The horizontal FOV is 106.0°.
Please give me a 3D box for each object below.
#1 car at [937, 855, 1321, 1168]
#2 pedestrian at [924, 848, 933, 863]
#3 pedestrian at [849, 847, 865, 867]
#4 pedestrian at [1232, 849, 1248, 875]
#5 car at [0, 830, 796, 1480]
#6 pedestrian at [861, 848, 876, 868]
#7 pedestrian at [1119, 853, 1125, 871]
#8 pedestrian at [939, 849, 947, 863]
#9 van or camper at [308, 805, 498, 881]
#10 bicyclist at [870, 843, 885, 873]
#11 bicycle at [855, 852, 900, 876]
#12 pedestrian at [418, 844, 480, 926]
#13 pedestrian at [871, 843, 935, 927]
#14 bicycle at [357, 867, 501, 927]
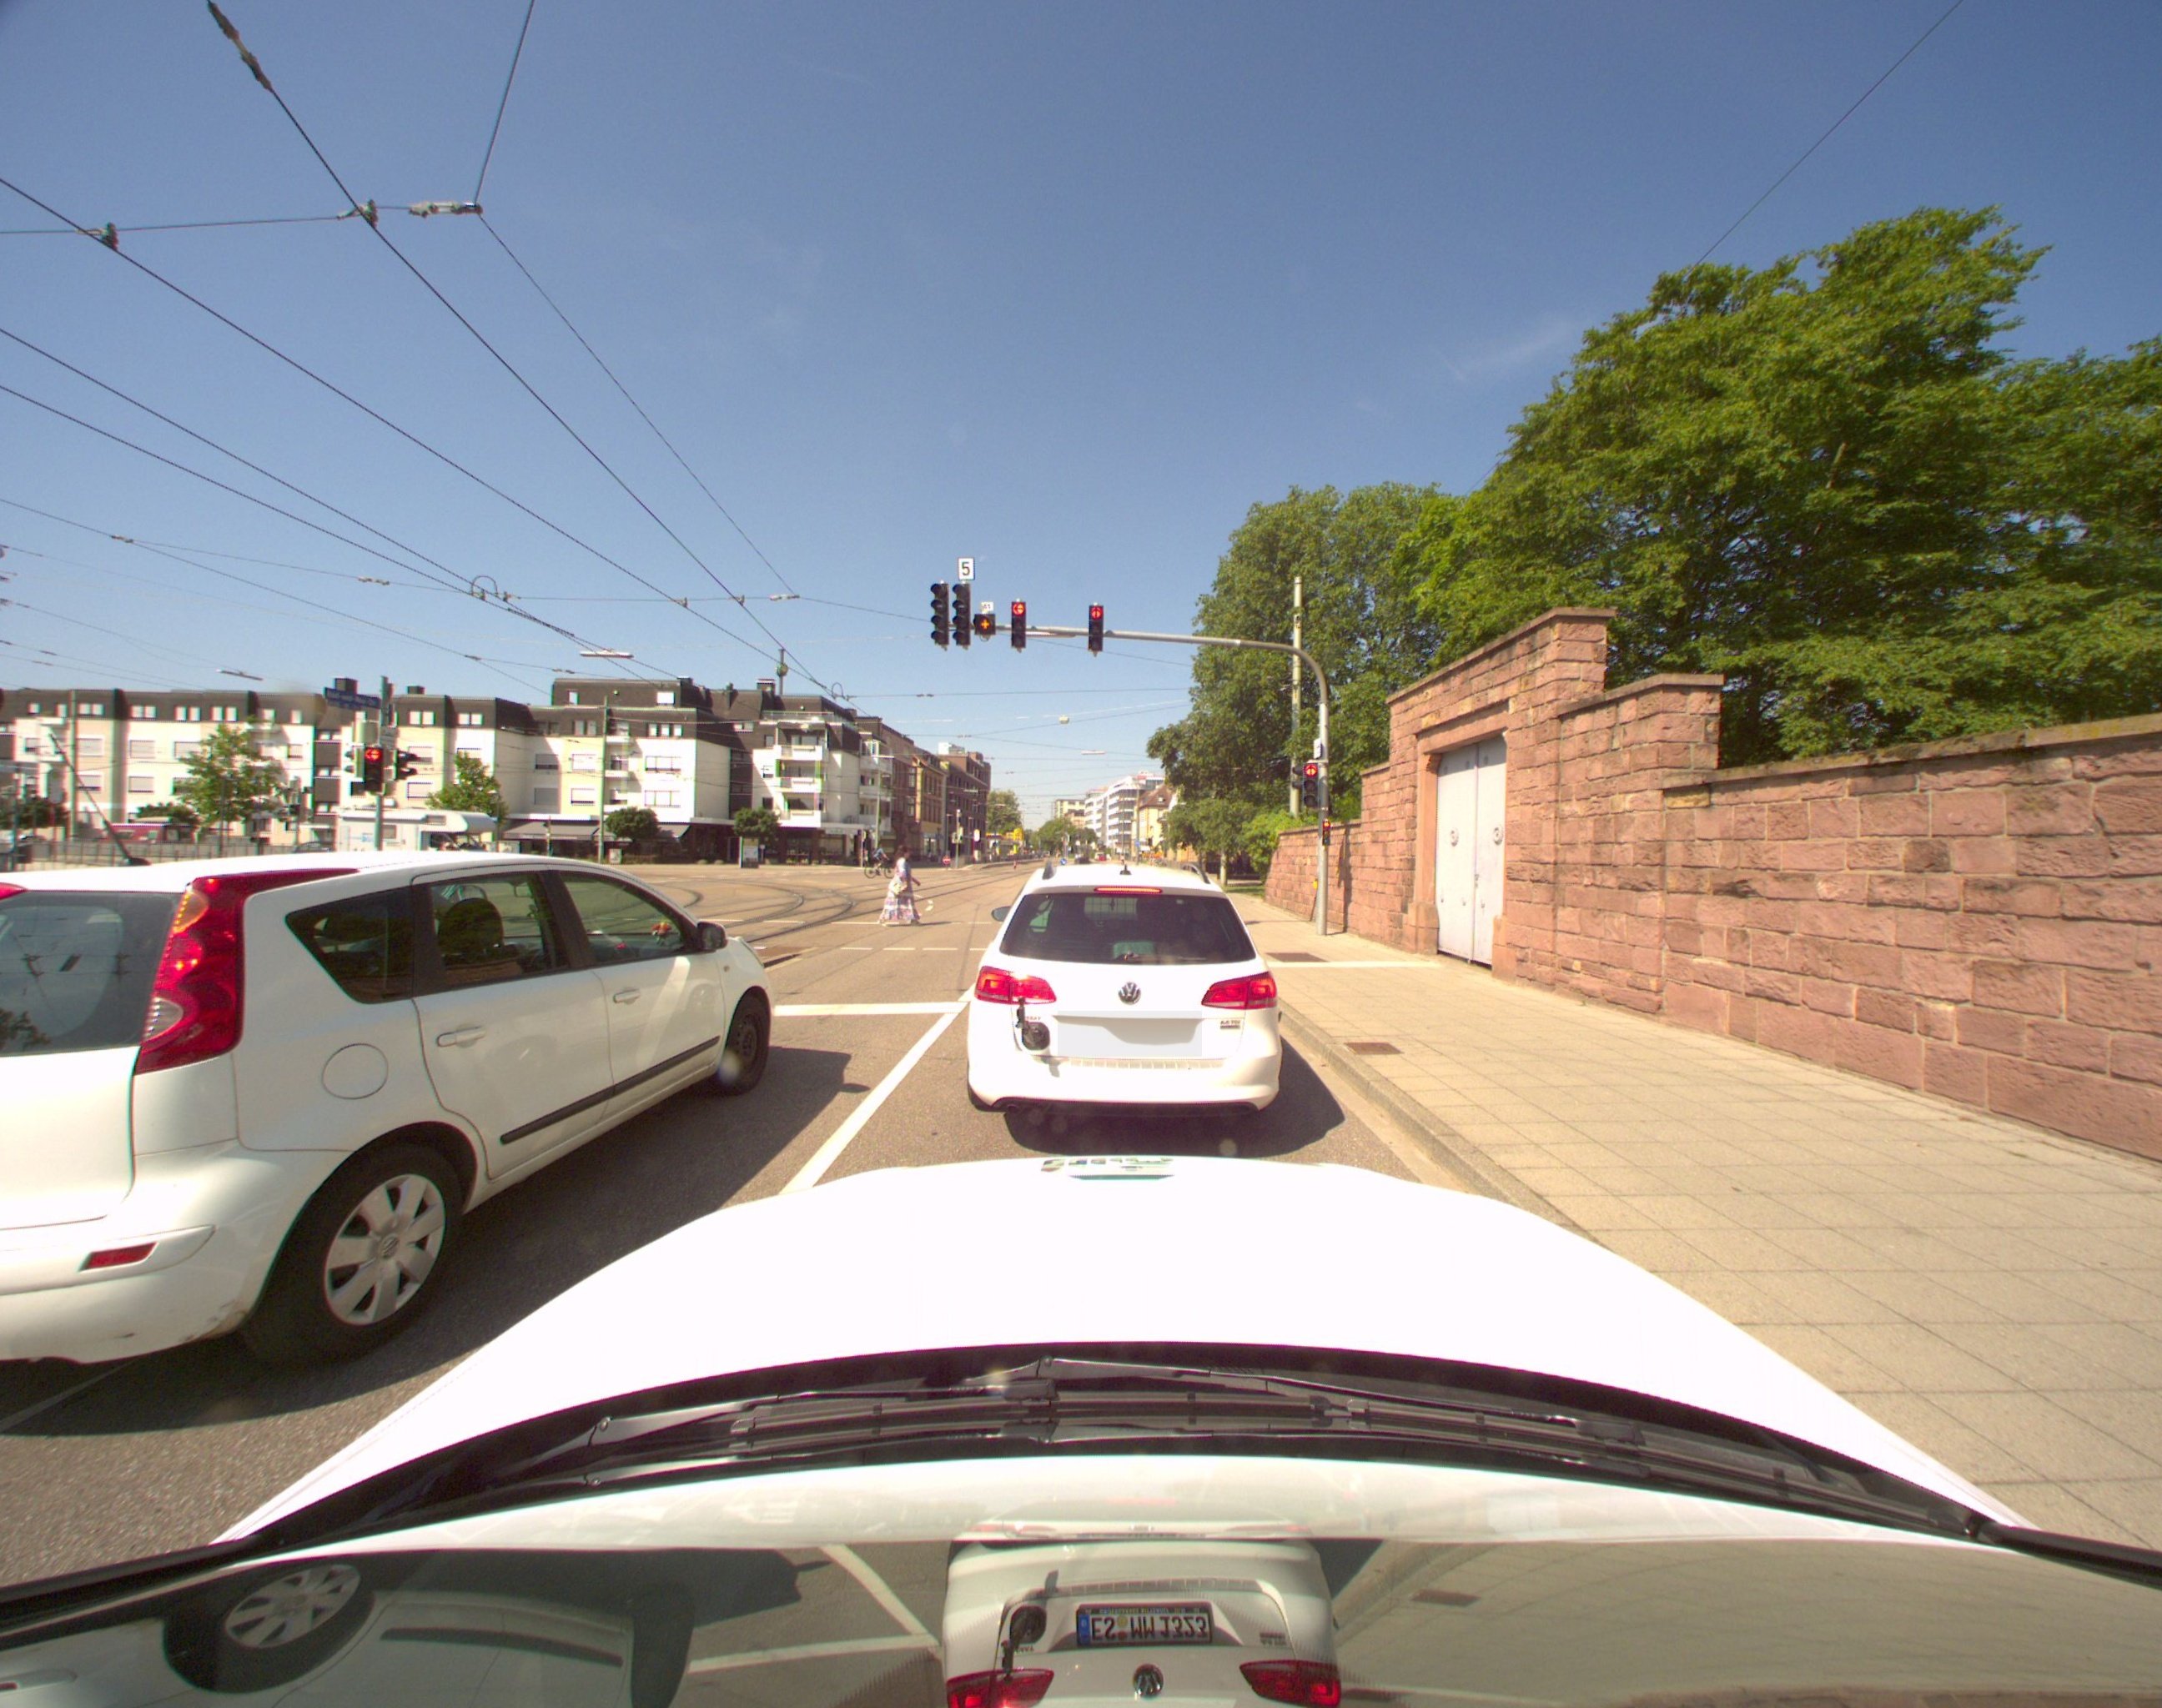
[{"bbox_3d":[0.283,0.744,5.853,1.801,1.448,4.001,1,0,1],"label":"car"},{"bbox_3d":[-17.574,0.191,93.807,0.860,1.743,0.973,-1,-1,-4],"label":"pedestrian"},{"bbox_3d":[-20.032,0.290,72.828,0.853,1.743,0.981,-2,-1,31],"label":"pedestrian"},{"bbox_3d":[11.084,0.571,56.749,0.964,1.743,0.868,-1,-1,19],"label":"pedestrian"},{"bbox_3d":[-2.902,0.708,3.868,1.636,1.566,3.805,-1,1,1],"label":"car"},{"bbox_3d":[-19.044,0.357,72.849,0.980,1.743,0.854,0,-2,-44],"label":"pedestrian"},{"bbox_3d":[5.402,1.043,106.770,0.687,2.325,1.233,-1,-1,3],"label":"pedestrian"},{"bbox_3d":[-16.897,0.282,99.704,0.860,1.743,0.973,-1,-1,-4],"label":"pedestrian"},{"bbox_3d":[-28.889,-0.457,34.937,5.682,3.093,2.567,-1,-1,-9],"label":"van or camper"},{"bbox_3d":[-10.999,0.212,44.000,0.640,1.613,0.557,0,-1,-32],"label":"bicyclist"},{"bbox_3d":[-10.993,0.544,43.995,2.257,1.297,0.554,0,-1,-31],"label":"bicycle"},{"bbox_3d":[-12.552,0.598,16.187,0.746,1.571,0.672,-1,0,-13],"label":"pedestrian"},{"bbox_3d":[-3.623,0.613,16.546,0.979,1.651,0.945,0,-2,-36],"label":"pedestrian"},{"bbox_3d":[-12.498,0.812,15.678,2.021,1.090,0.707,1,0,-13],"label":"bicycle"}]
